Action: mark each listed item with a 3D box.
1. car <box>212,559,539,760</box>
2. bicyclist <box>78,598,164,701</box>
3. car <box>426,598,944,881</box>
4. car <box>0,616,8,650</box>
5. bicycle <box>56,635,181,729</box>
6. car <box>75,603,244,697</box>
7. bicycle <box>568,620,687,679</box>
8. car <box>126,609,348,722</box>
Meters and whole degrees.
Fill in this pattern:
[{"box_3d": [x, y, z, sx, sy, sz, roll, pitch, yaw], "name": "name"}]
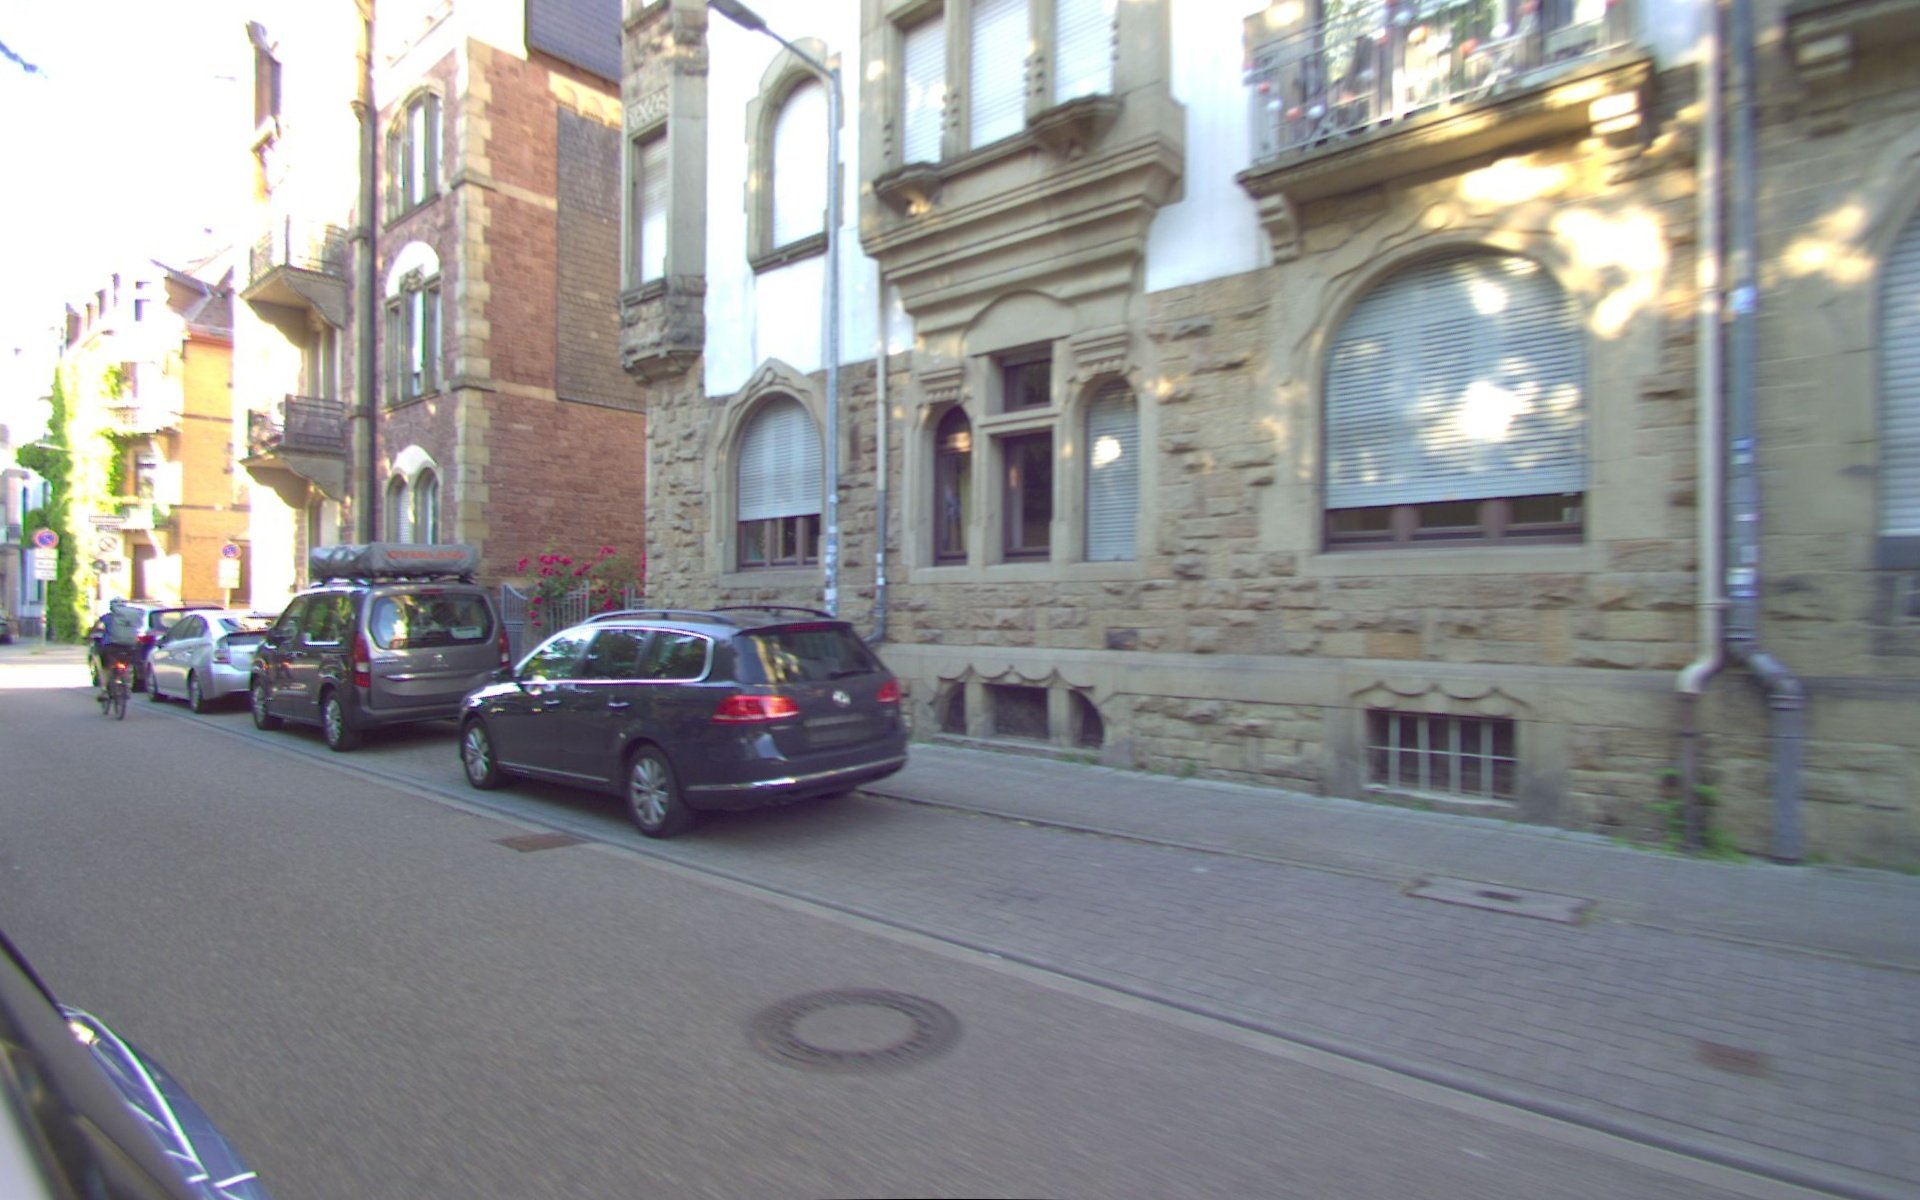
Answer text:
[{"box_3d": [-7.159, 0.607, 12.206, 4.493, 1.989, 1.949, -1, 0, 39], "name": "car"}, {"box_3d": [-11.491, 0.669, 13.859, 1.058, 1.355, 0.658, -1, -3, 38], "name": "bicyclist"}, {"box_3d": [-2.430, 0.812, 8.048, 4.708, 1.586, 1.711, 1, 0, 42], "name": "car"}, {"box_3d": [-41.842, 1.411, 42.744, 4.922, 1.415, 1.858, -1, 0, 41], "name": "car"}, {"box_3d": [-11.620, 1.079, 13.942, 2.616, 1.187, 0.746, -1, -3, 38], "name": "bicycle"}, {"box_3d": [-15.651, 0.906, 19.711, 4.254, 1.634, 1.712, -1, 0, 39], "name": "car"}, {"box_3d": [-6.418, 0.934, 19.677, 0.608, 1.087, 2.332, -1, -2, 33], "name": "bicycle"}, {"box_3d": [-11.399, 0.925, 15.839, 4.450, 1.510, 1.712, -1, 0, 39], "name": "car"}]
